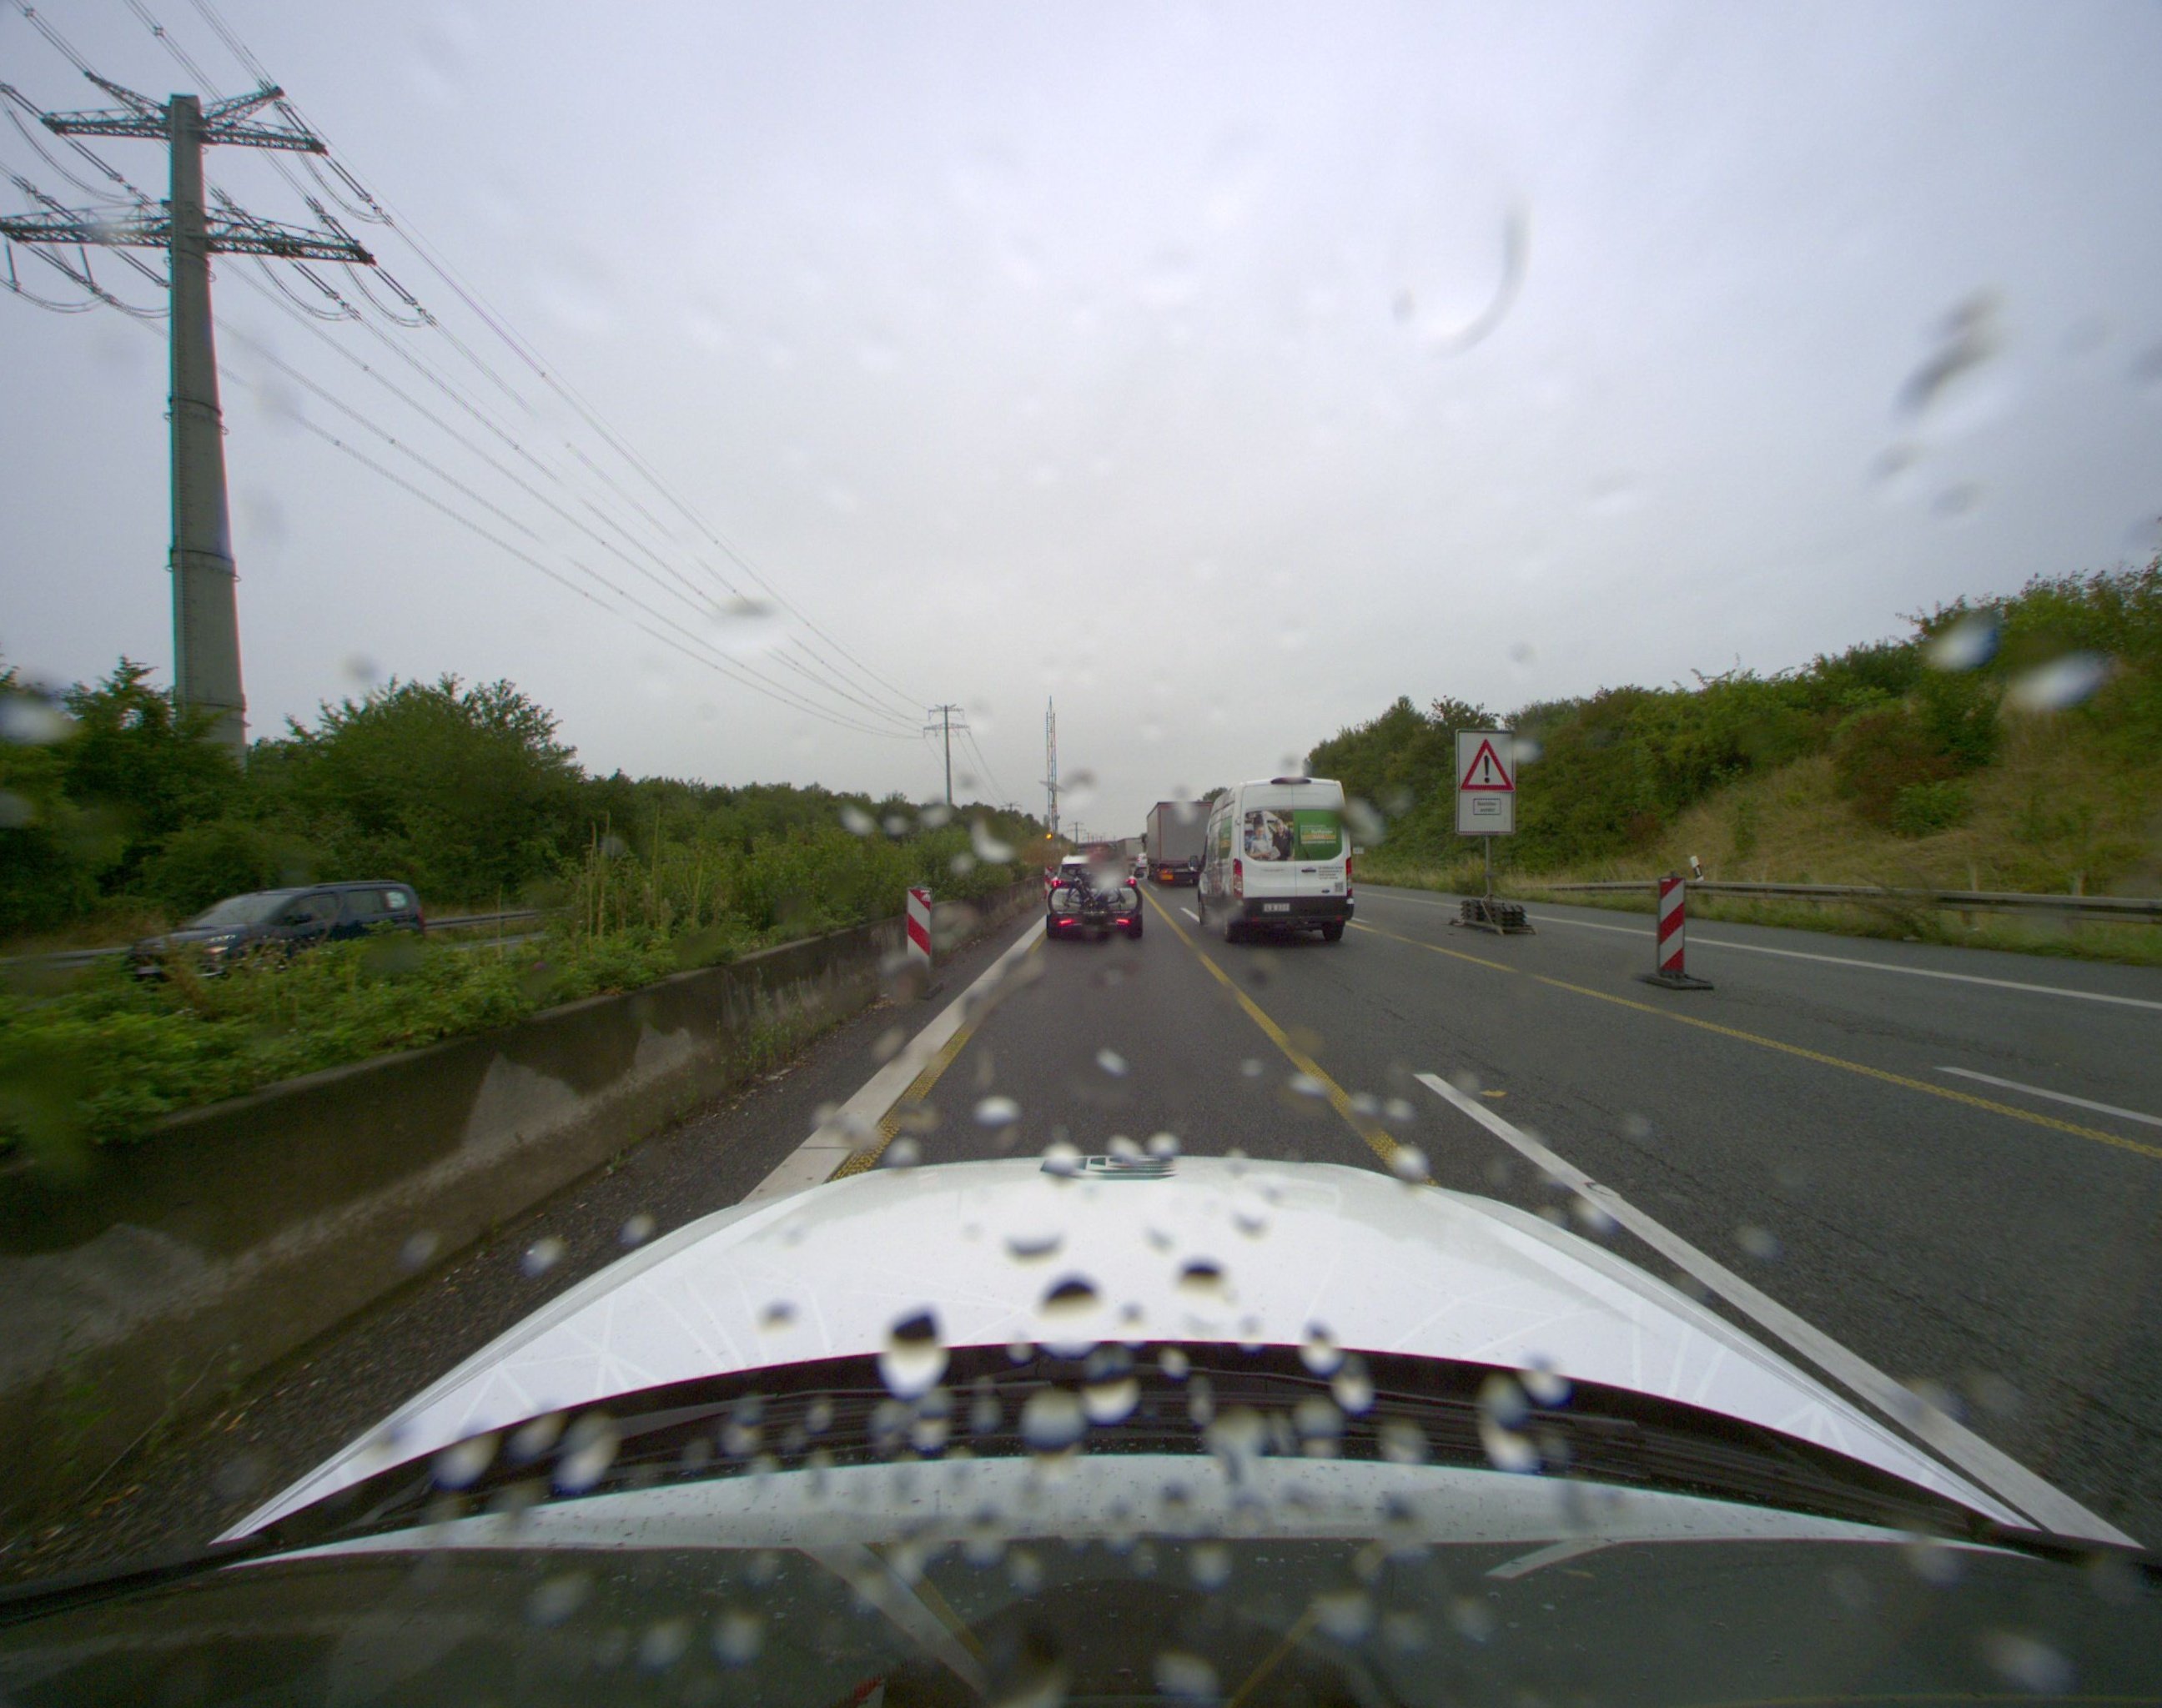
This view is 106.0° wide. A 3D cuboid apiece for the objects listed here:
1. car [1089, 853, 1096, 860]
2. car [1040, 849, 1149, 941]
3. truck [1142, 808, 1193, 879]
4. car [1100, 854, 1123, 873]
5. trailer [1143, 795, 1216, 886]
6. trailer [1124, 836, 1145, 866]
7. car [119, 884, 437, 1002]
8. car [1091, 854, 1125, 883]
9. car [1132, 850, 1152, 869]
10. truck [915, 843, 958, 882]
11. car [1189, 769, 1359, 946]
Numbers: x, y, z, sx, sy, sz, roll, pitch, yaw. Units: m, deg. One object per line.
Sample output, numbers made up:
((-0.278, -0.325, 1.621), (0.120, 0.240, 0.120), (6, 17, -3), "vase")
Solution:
((3.467, 0.744, 246.293), (1.924, 1.973, 4.002), (-1, 1, 2), "car")
((0.300, 0.703, 16.260), (1.843, 1.531, 4.770), (-1, 0, 2), "car")
((5.345, -0.605, 51.105), (2.696, 4.138, 5.692), (-1, 0, 2), "truck")
((2.524, 0.754, 67.548), (1.843, 1.531, 4.001), (-1, 0, 2), "car")
((5.060, -0.595, 44.345), (2.696, 4.146, 13.738), (-1, 0, 2), "trailer")
((7.837, -0.388, 120.699), (2.682, 4.076, 13.638), (-1, 0, 2), "trailer")
((-15.012, 1.556, 15.607), (1.986, 1.748, 4.002), (-3, 0, 2), "car")
((1.515, 0.771, 46.228), (1.843, 1.531, 4.001), (-1, 0, 2), "car")
((6.311, 0.572, 84.778), (1.822, 1.839, 4.657), (-1, 0, 2), "car")
((-13.265, 0.771, 75.454), (2.252, 3.228, 7.055), (-5, -1, 2), "truck")
((3.475, 0.055, 15.919), (1.986, 2.783, 5.757), (-1, 0, 1), "car")
